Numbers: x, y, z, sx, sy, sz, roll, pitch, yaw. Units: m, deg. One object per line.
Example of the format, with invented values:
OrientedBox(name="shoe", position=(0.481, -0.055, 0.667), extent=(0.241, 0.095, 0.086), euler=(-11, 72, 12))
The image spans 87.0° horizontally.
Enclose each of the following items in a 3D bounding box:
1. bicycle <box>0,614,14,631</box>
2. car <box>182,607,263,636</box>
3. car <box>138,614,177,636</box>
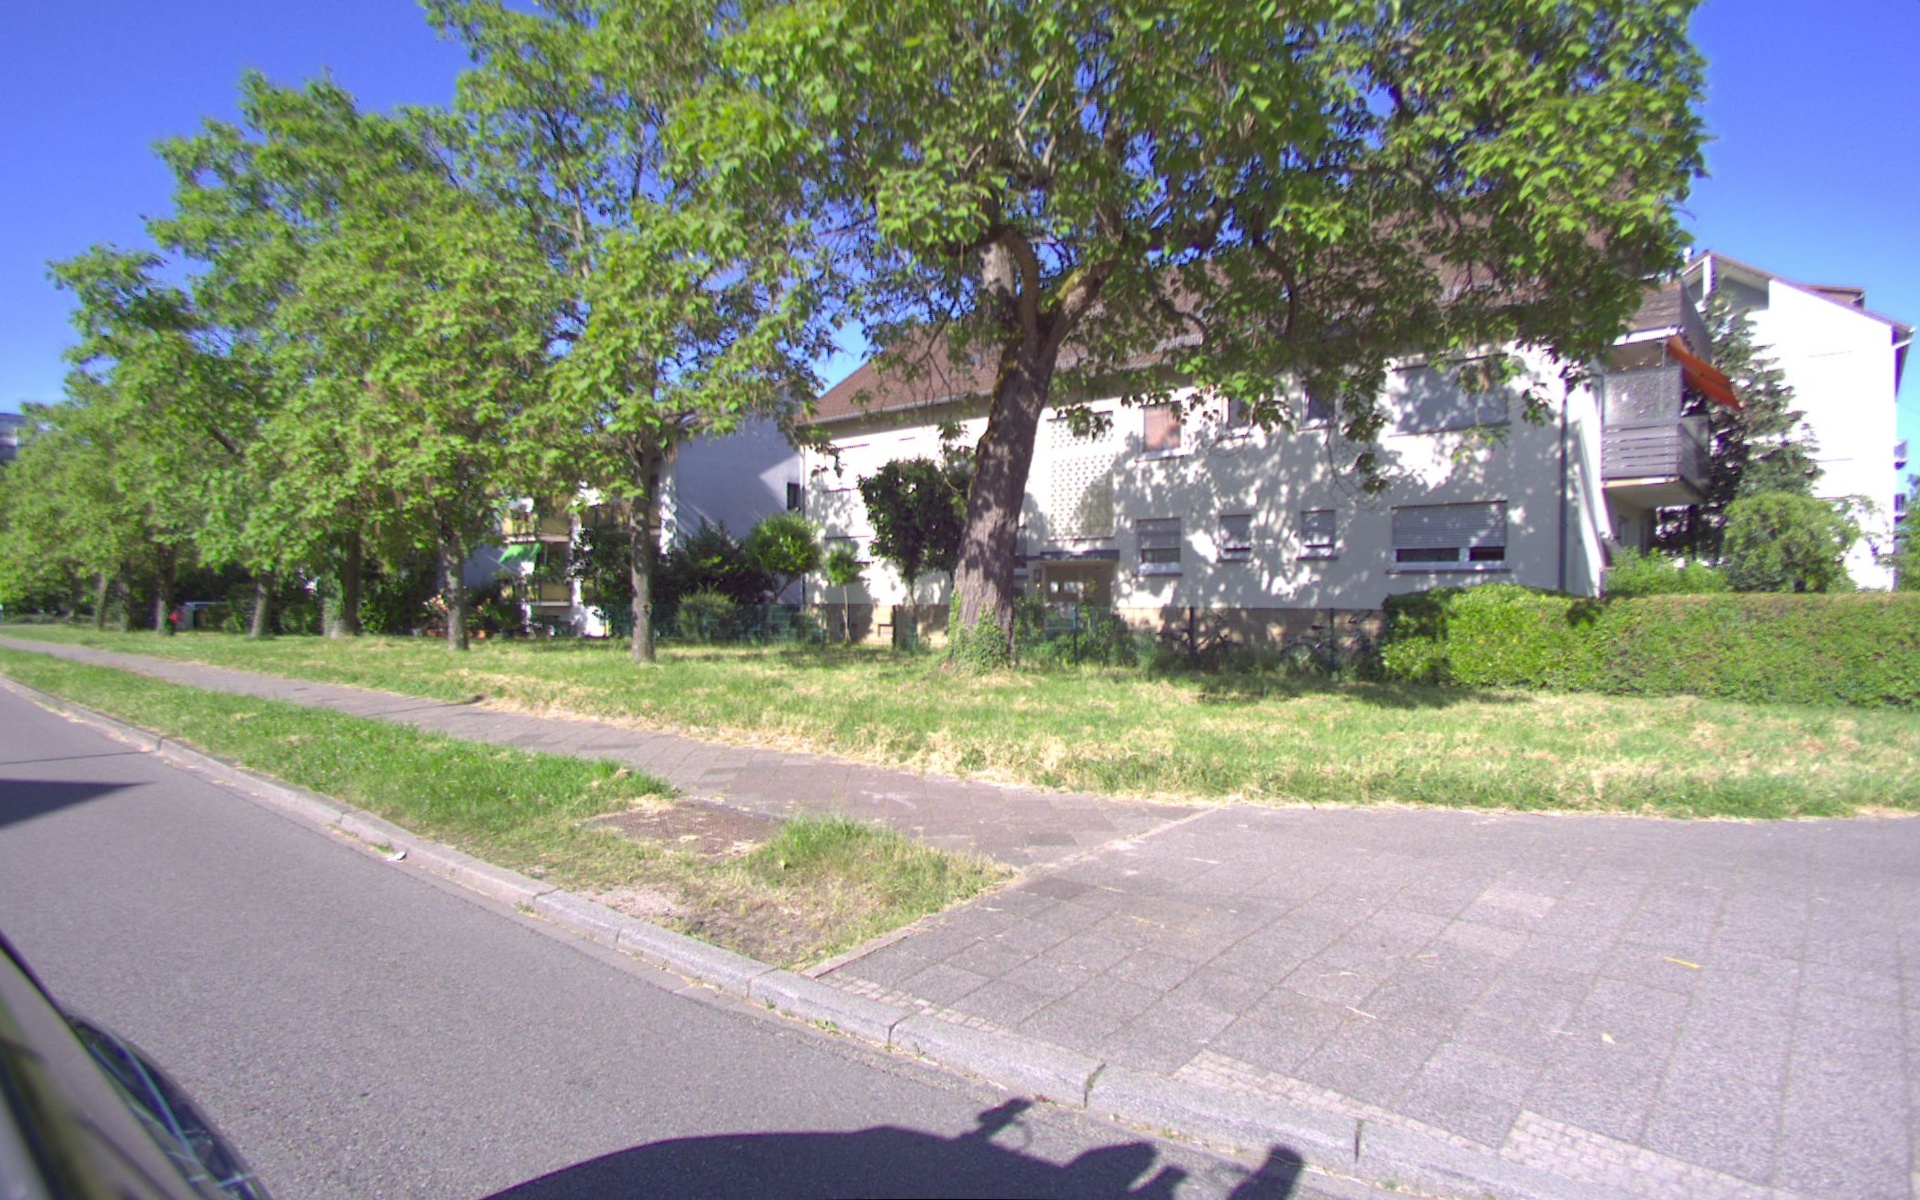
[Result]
OrientedBox(name="bicycle", position=(-70.366, 1.659, 73.882), extent=(1.875, 1.161, 0.762), euler=(1, 2, -39))
OrientedBox(name="car", position=(-52.666, 1.532, 72.351), extent=(2.069, 1.984, 4.401), euler=(-2, -2, 44))
OrientedBox(name="car", position=(-60.888, 1.874, 76.775), extent=(3.883, 1.498, 1.653), euler=(2, 0, 41))
